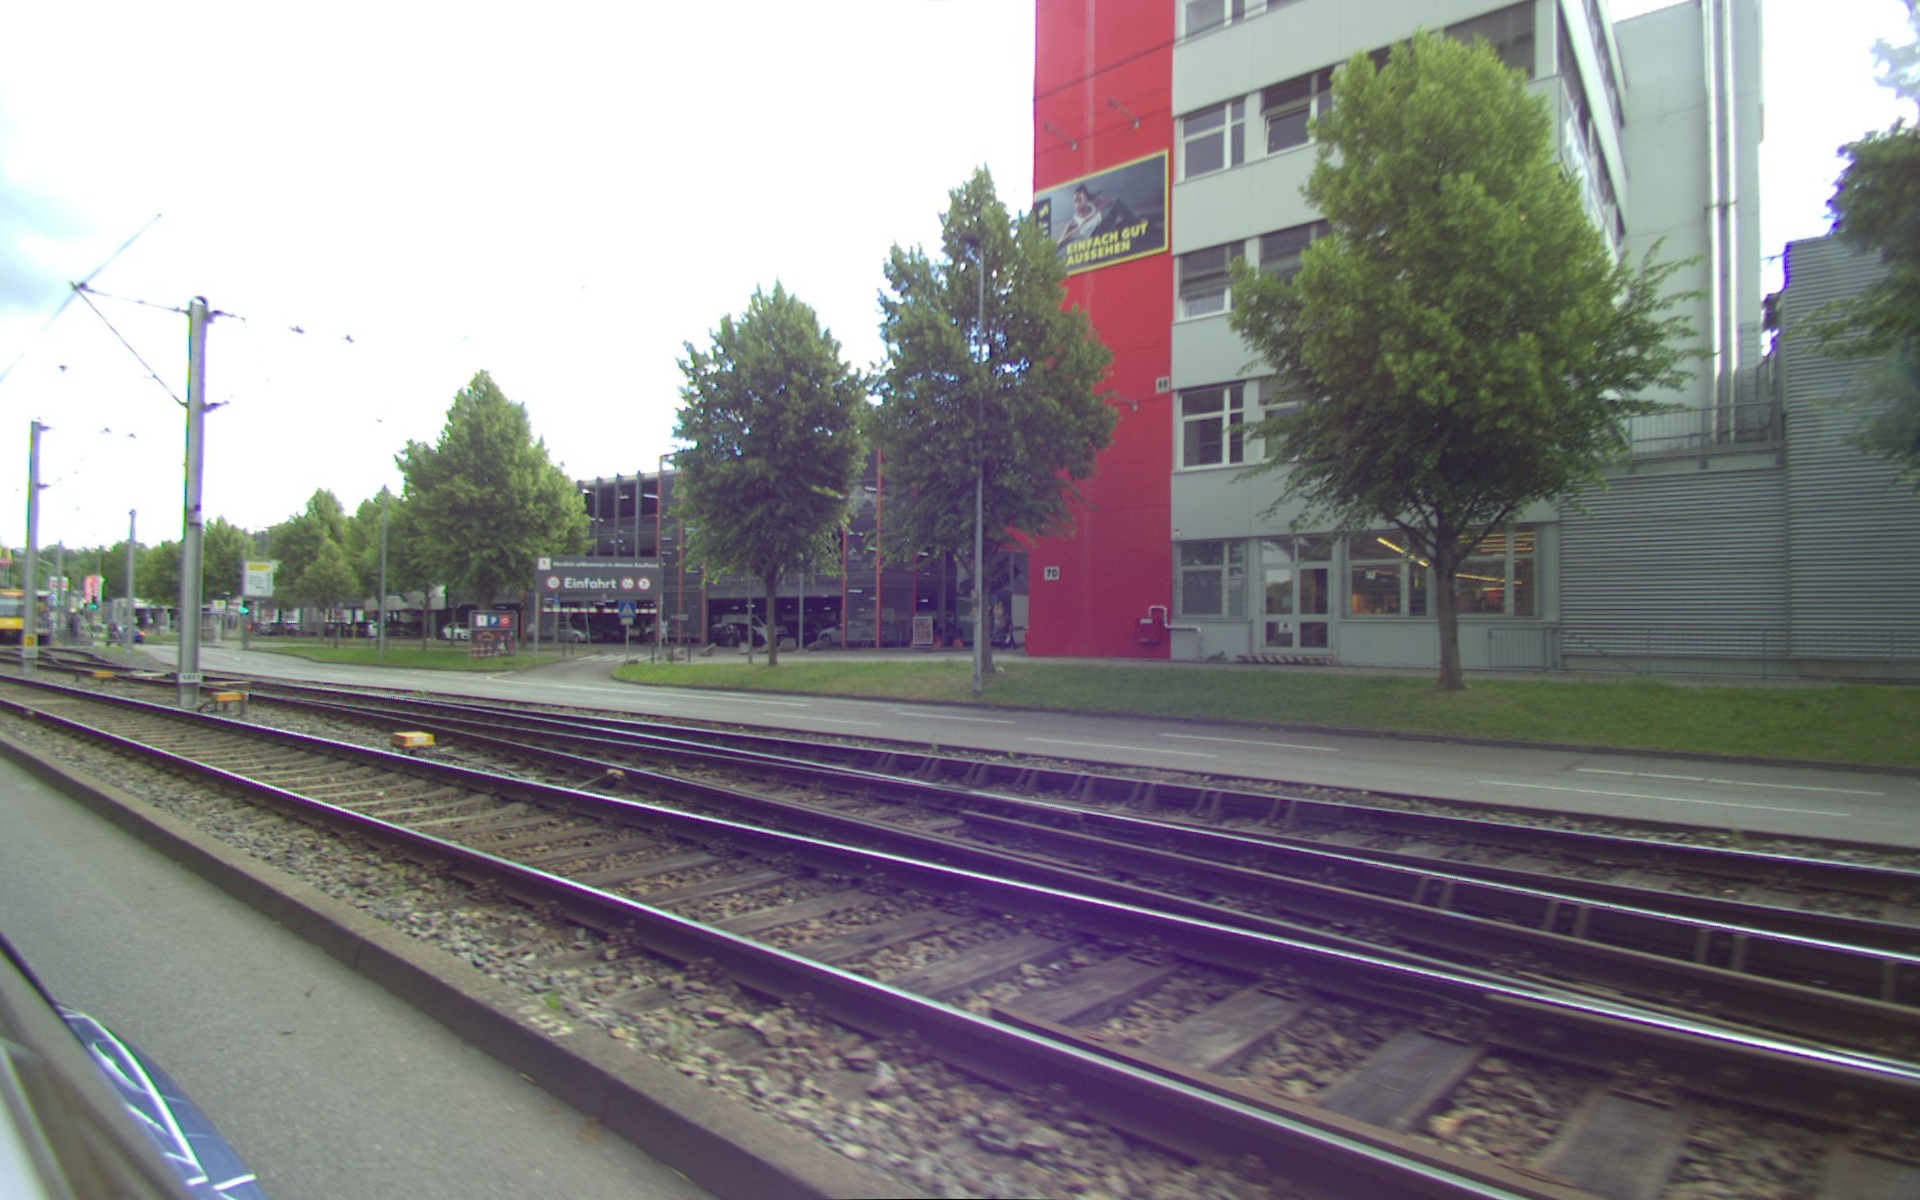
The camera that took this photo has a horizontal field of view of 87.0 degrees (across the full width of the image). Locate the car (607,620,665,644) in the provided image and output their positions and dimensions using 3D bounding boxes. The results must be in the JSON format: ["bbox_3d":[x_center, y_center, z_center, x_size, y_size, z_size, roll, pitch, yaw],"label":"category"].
[{"bbox_3d":[-23.946,2.377,74.693,4.400,1.712,1.974,-1,-2,39],"label":"car"}]

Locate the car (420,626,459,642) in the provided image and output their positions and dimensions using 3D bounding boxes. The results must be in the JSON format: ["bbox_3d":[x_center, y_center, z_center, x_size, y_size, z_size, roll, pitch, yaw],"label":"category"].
[{"bbox_3d":[-54.725,3.513,106.374,4.400,1.640,1.974,-1,-2,39],"label":"car"}]

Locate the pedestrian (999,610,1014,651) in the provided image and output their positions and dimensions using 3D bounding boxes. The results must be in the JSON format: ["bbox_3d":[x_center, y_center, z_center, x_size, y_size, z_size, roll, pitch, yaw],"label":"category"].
[{"bbox_3d":[2.193,1.461,48.036,0.648,1.941,0.582,0,-2,9],"label":"pedestrian"}]

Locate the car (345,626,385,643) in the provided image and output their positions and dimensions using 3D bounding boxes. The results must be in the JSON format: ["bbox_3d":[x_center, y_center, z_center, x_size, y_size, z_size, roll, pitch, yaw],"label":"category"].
[{"bbox_3d":[-59.168,3.455,100.567,4.400,1.640,1.974,-1,-2,39],"label":"car"}]

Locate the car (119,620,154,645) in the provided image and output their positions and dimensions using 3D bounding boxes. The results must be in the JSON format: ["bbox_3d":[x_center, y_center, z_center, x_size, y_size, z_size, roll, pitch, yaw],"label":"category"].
[{"bbox_3d":[-67.081,2.637,82.383,1.969,2.029,4.005,1,-2,-42],"label":"car"}]

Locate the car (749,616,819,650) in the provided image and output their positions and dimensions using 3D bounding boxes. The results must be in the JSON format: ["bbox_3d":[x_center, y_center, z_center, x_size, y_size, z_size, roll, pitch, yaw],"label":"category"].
[{"bbox_3d":[-11.184,2.072,64.075,4.400,2.029,1.974,-1,-2,39],"label":"car"}]

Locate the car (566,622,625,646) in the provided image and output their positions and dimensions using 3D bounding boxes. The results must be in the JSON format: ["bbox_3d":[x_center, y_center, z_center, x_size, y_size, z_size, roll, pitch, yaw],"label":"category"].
[{"bbox_3d":[-26.014,2.384,72.093,4.400,1.640,1.974,-1,-2,39],"label":"car"}]

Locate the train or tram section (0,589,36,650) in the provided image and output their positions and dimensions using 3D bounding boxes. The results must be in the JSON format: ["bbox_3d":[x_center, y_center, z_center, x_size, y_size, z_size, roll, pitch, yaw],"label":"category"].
[{"bbox_3d":[-64.671,1.361,67.468,13.776,3.804,2.743,-1,-2,40],"label":"train or tram section"}]

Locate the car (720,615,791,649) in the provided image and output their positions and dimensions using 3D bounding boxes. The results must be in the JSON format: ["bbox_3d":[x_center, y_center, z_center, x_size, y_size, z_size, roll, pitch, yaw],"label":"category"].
[{"bbox_3d":[-12.613,1.934,62.307,4.400,2.029,1.974,-1,-2,39],"label":"car"}]

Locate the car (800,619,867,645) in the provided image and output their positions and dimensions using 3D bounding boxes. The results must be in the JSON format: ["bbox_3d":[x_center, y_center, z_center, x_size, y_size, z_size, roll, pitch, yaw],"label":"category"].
[{"bbox_3d":[-8.565,2.130,68.245,4.400,1.731,1.974,-1,-2,39],"label":"car"}]

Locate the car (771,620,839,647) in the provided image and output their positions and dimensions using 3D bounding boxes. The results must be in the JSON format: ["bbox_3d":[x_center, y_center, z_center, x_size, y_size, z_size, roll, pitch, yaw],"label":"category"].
[{"bbox_3d":[-10.118,2.161,66.100,4.400,1.662,1.974,-1,-2,39],"label":"car"}]
